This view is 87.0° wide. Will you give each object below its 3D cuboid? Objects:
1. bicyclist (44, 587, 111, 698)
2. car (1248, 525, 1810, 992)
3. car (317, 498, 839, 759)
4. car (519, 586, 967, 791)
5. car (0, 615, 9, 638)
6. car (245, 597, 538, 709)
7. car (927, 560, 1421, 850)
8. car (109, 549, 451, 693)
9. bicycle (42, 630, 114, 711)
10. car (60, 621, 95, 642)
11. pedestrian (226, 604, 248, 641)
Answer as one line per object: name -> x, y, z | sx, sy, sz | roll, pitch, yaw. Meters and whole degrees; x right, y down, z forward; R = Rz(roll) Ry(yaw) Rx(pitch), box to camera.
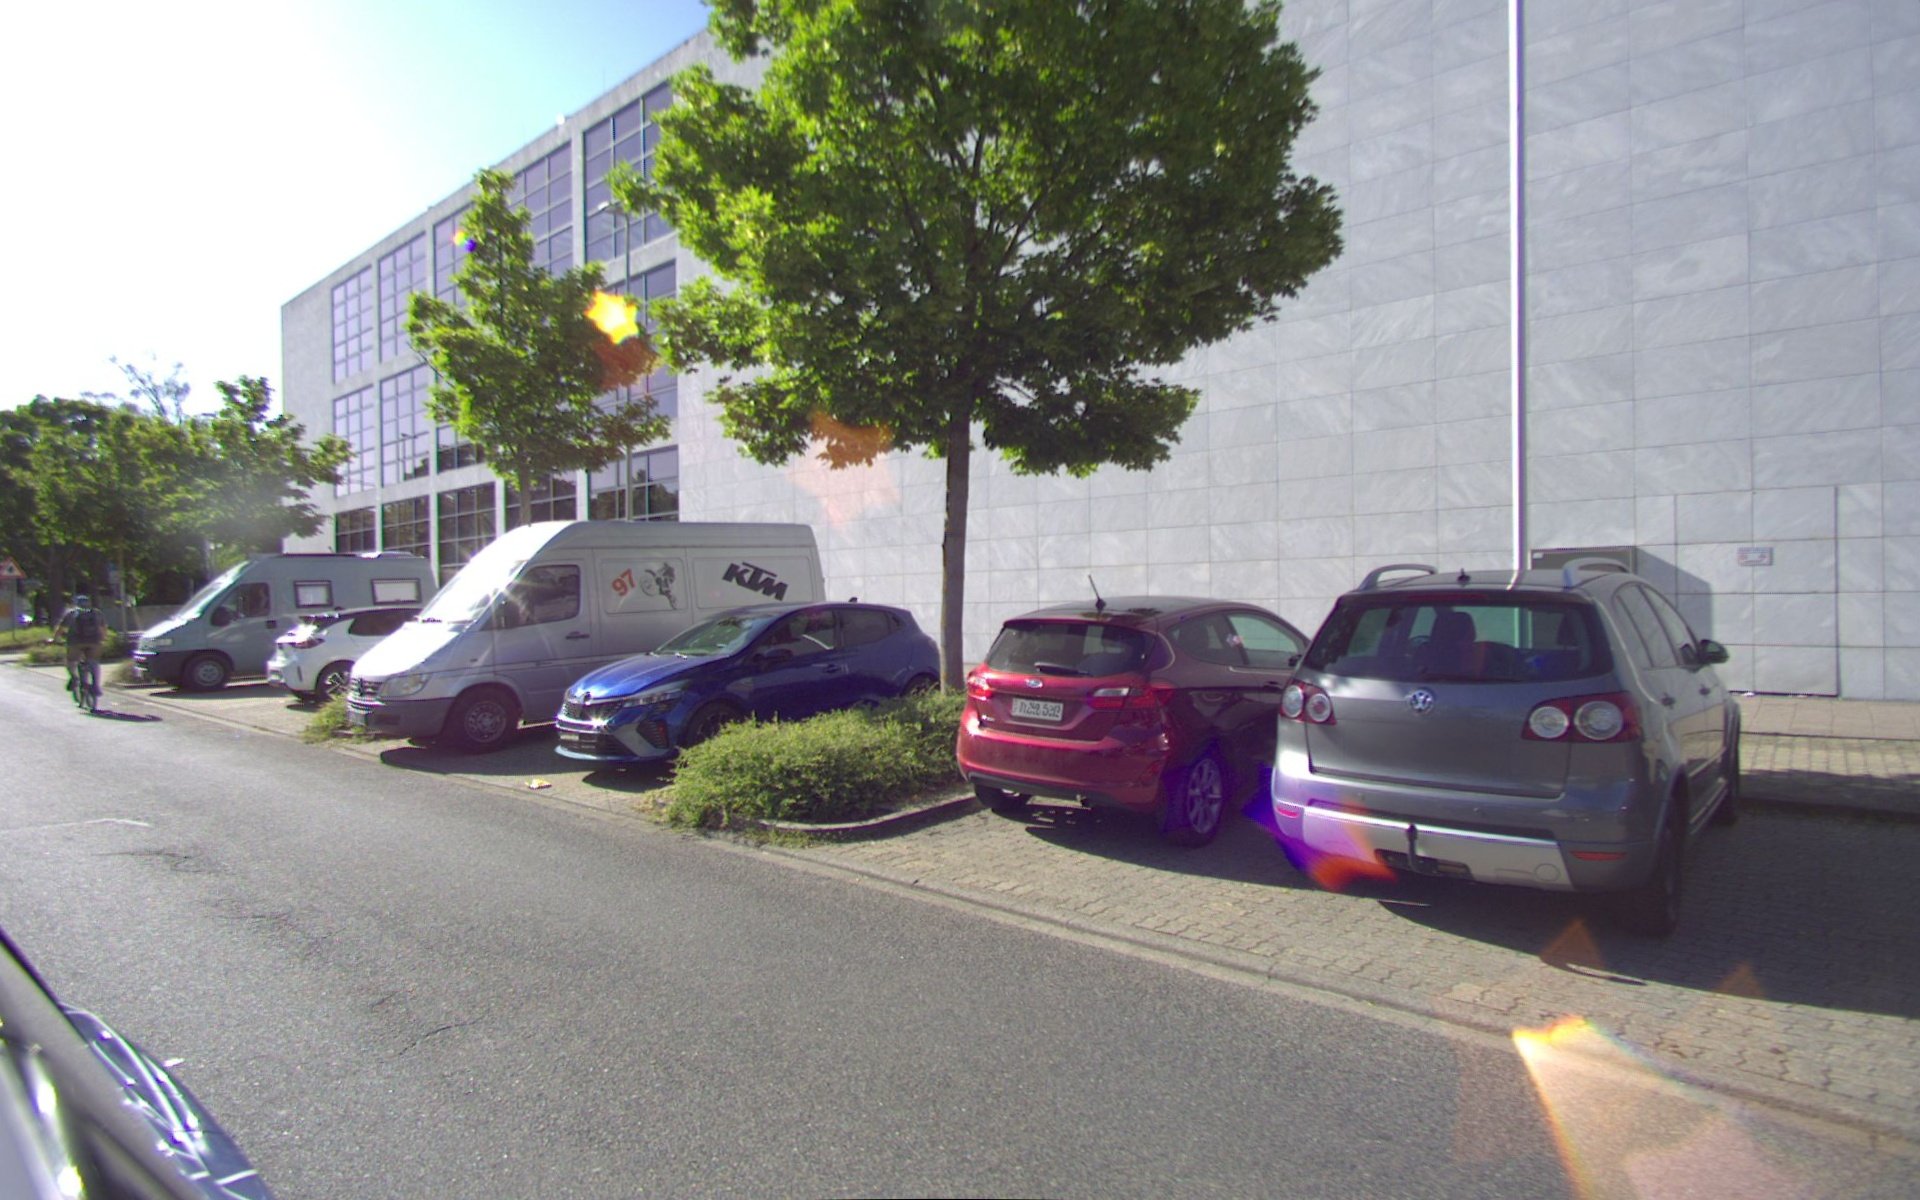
bicyclist -> -13.282, 0.626, 15.225 | 0.675, 1.593, 1.062 | 2, -2, -44
car -> 3.424, 0.508, 5.693 | 1.828, 1.676, 3.943 | -1, 2, 44
car -> -4.231, 0.187, 12.136 | 1.987, 2.428, 5.492 | -1, 1, 42
car -> -1.905, 0.659, 9.735 | 1.785, 1.496, 3.891 | -1, 1, 42
car -> -62.128, 1.738, 62.639 | 1.829, 1.416, 4.624 | -1, 1, 42
car -> -9.227, 0.779, 16.638 | 1.848, 1.483, 3.789 | -1, 1, 43
car -> 1.780, 0.552, 7.428 | 1.855, 1.529, 3.945 | -1, 0, 41
car -> -13.254, 0.282, 20.038 | 2.122, 2.436, 5.193 | -1, 2, 42
bicycle -> -13.318, 1.020, 15.256 | 0.690, 1.119, 2.081 | 2, -2, -44
car -> -71.678, 2.517, 82.162 | 4.146, 1.626, 1.809 | -1, -2, 45
pedestrian -> -33.499, 1.042, 46.882 | 0.825, 1.697, 0.809 | 1, -2, -36
